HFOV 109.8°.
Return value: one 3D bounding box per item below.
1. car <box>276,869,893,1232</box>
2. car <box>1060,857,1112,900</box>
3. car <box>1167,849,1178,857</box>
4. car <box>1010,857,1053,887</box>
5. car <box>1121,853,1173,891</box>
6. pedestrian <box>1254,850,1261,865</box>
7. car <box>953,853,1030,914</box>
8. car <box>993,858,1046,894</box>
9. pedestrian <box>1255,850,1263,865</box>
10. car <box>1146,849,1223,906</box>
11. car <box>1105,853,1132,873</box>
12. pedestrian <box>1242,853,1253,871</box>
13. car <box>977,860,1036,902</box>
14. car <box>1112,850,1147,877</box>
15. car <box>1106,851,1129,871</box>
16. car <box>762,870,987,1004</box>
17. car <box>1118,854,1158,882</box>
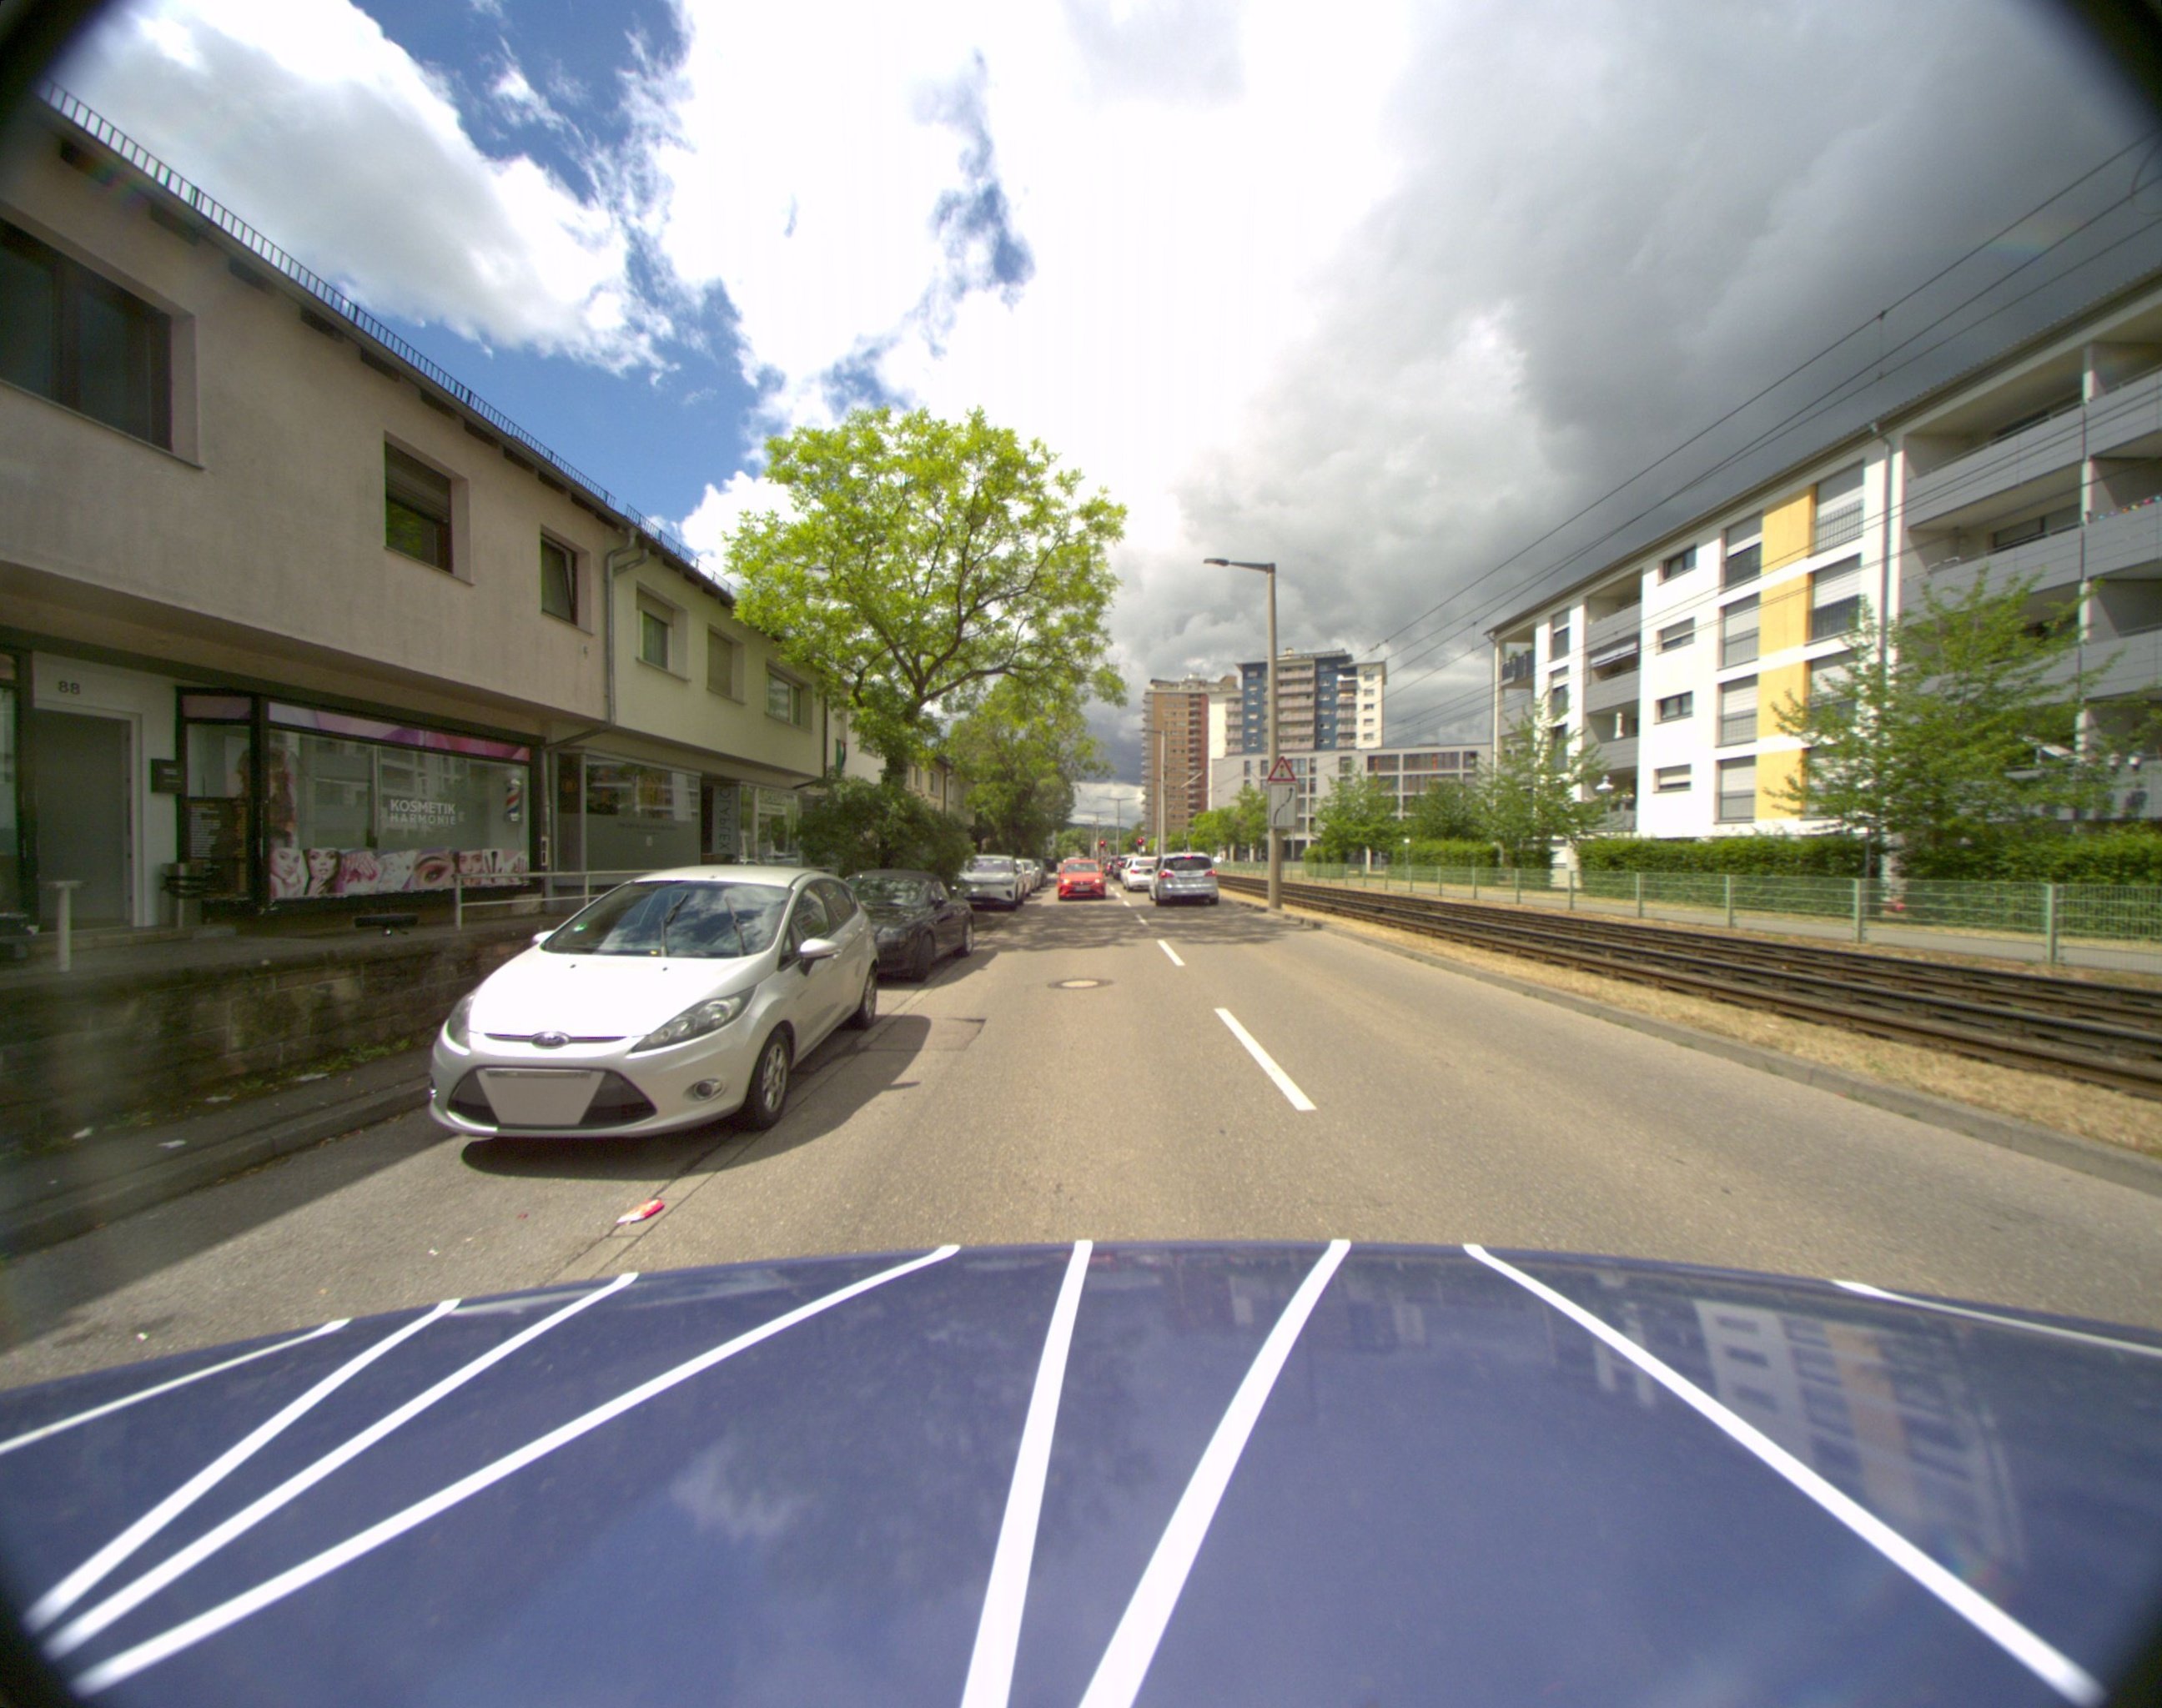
[{"bbox_3d":[-2.659,0.914,5.288,1.776,1.434,3.898,2,1,-1],"label":"car"},{"bbox_3d":[0.211,0.873,28.468,1.792,1.387,4.241,-1,1,1],"label":"car"},{"bbox_3d":[18.743,-0.248,156.287,1.781,1.650,3.803,-1,0,-1],"label":"car"},{"bbox_3d":[-2.565,0.900,40.104,1.818,1.455,4.041,0,0,2],"label":"car"},{"bbox_3d":[2.841,0.753,33.640,1.822,1.494,4.836,-2,0,-1],"label":"car"},{"bbox_3d":[20.229,0.384,87.153,0.749,1.644,0.538,-1,1,0],"label":"pedestrian"},{"bbox_3d":[-2.631,0.820,23.253,1.842,1.634,4.429,-1,0,0],"label":"car"},{"bbox_3d":[-2.734,0.948,34.699,1.818,1.490,4.911,0,0,2],"label":"car"},{"bbox_3d":[20.196,0.392,86.219,0.749,1.644,0.538,-1,1,0],"label":"pedestrian"},{"bbox_3d":[3.190,0.663,24.363,1.822,1.604,4.601,-2,0,0],"label":"car"},{"bbox_3d":[2.813,0.687,57.789,1.815,1.437,4.464,0,0,0],"label":"car"},{"bbox_3d":[14.826,0.716,67.803,0.756,1.603,0.938,-1,1,-1],"label":"pedestrian"},{"bbox_3d":[-2.750,0.967,28.770,1.729,1.418,4.446,0,0,1],"label":"car"},{"bbox_3d":[3.109,0.589,49.370,1.862,1.680,4.432,0,0,-2],"label":"car"},{"bbox_3d":[3.090,0.536,64.314,1.862,1.650,4.176,0,0,2],"label":"car"},{"bbox_3d":[-2.613,0.990,10.672,1.775,1.341,4.001,2,1,4],"label":"car"},{"bbox_3d":[3.084,0.724,41.709,1.751,1.398,3.939,0,0,-2],"label":"car"}]
